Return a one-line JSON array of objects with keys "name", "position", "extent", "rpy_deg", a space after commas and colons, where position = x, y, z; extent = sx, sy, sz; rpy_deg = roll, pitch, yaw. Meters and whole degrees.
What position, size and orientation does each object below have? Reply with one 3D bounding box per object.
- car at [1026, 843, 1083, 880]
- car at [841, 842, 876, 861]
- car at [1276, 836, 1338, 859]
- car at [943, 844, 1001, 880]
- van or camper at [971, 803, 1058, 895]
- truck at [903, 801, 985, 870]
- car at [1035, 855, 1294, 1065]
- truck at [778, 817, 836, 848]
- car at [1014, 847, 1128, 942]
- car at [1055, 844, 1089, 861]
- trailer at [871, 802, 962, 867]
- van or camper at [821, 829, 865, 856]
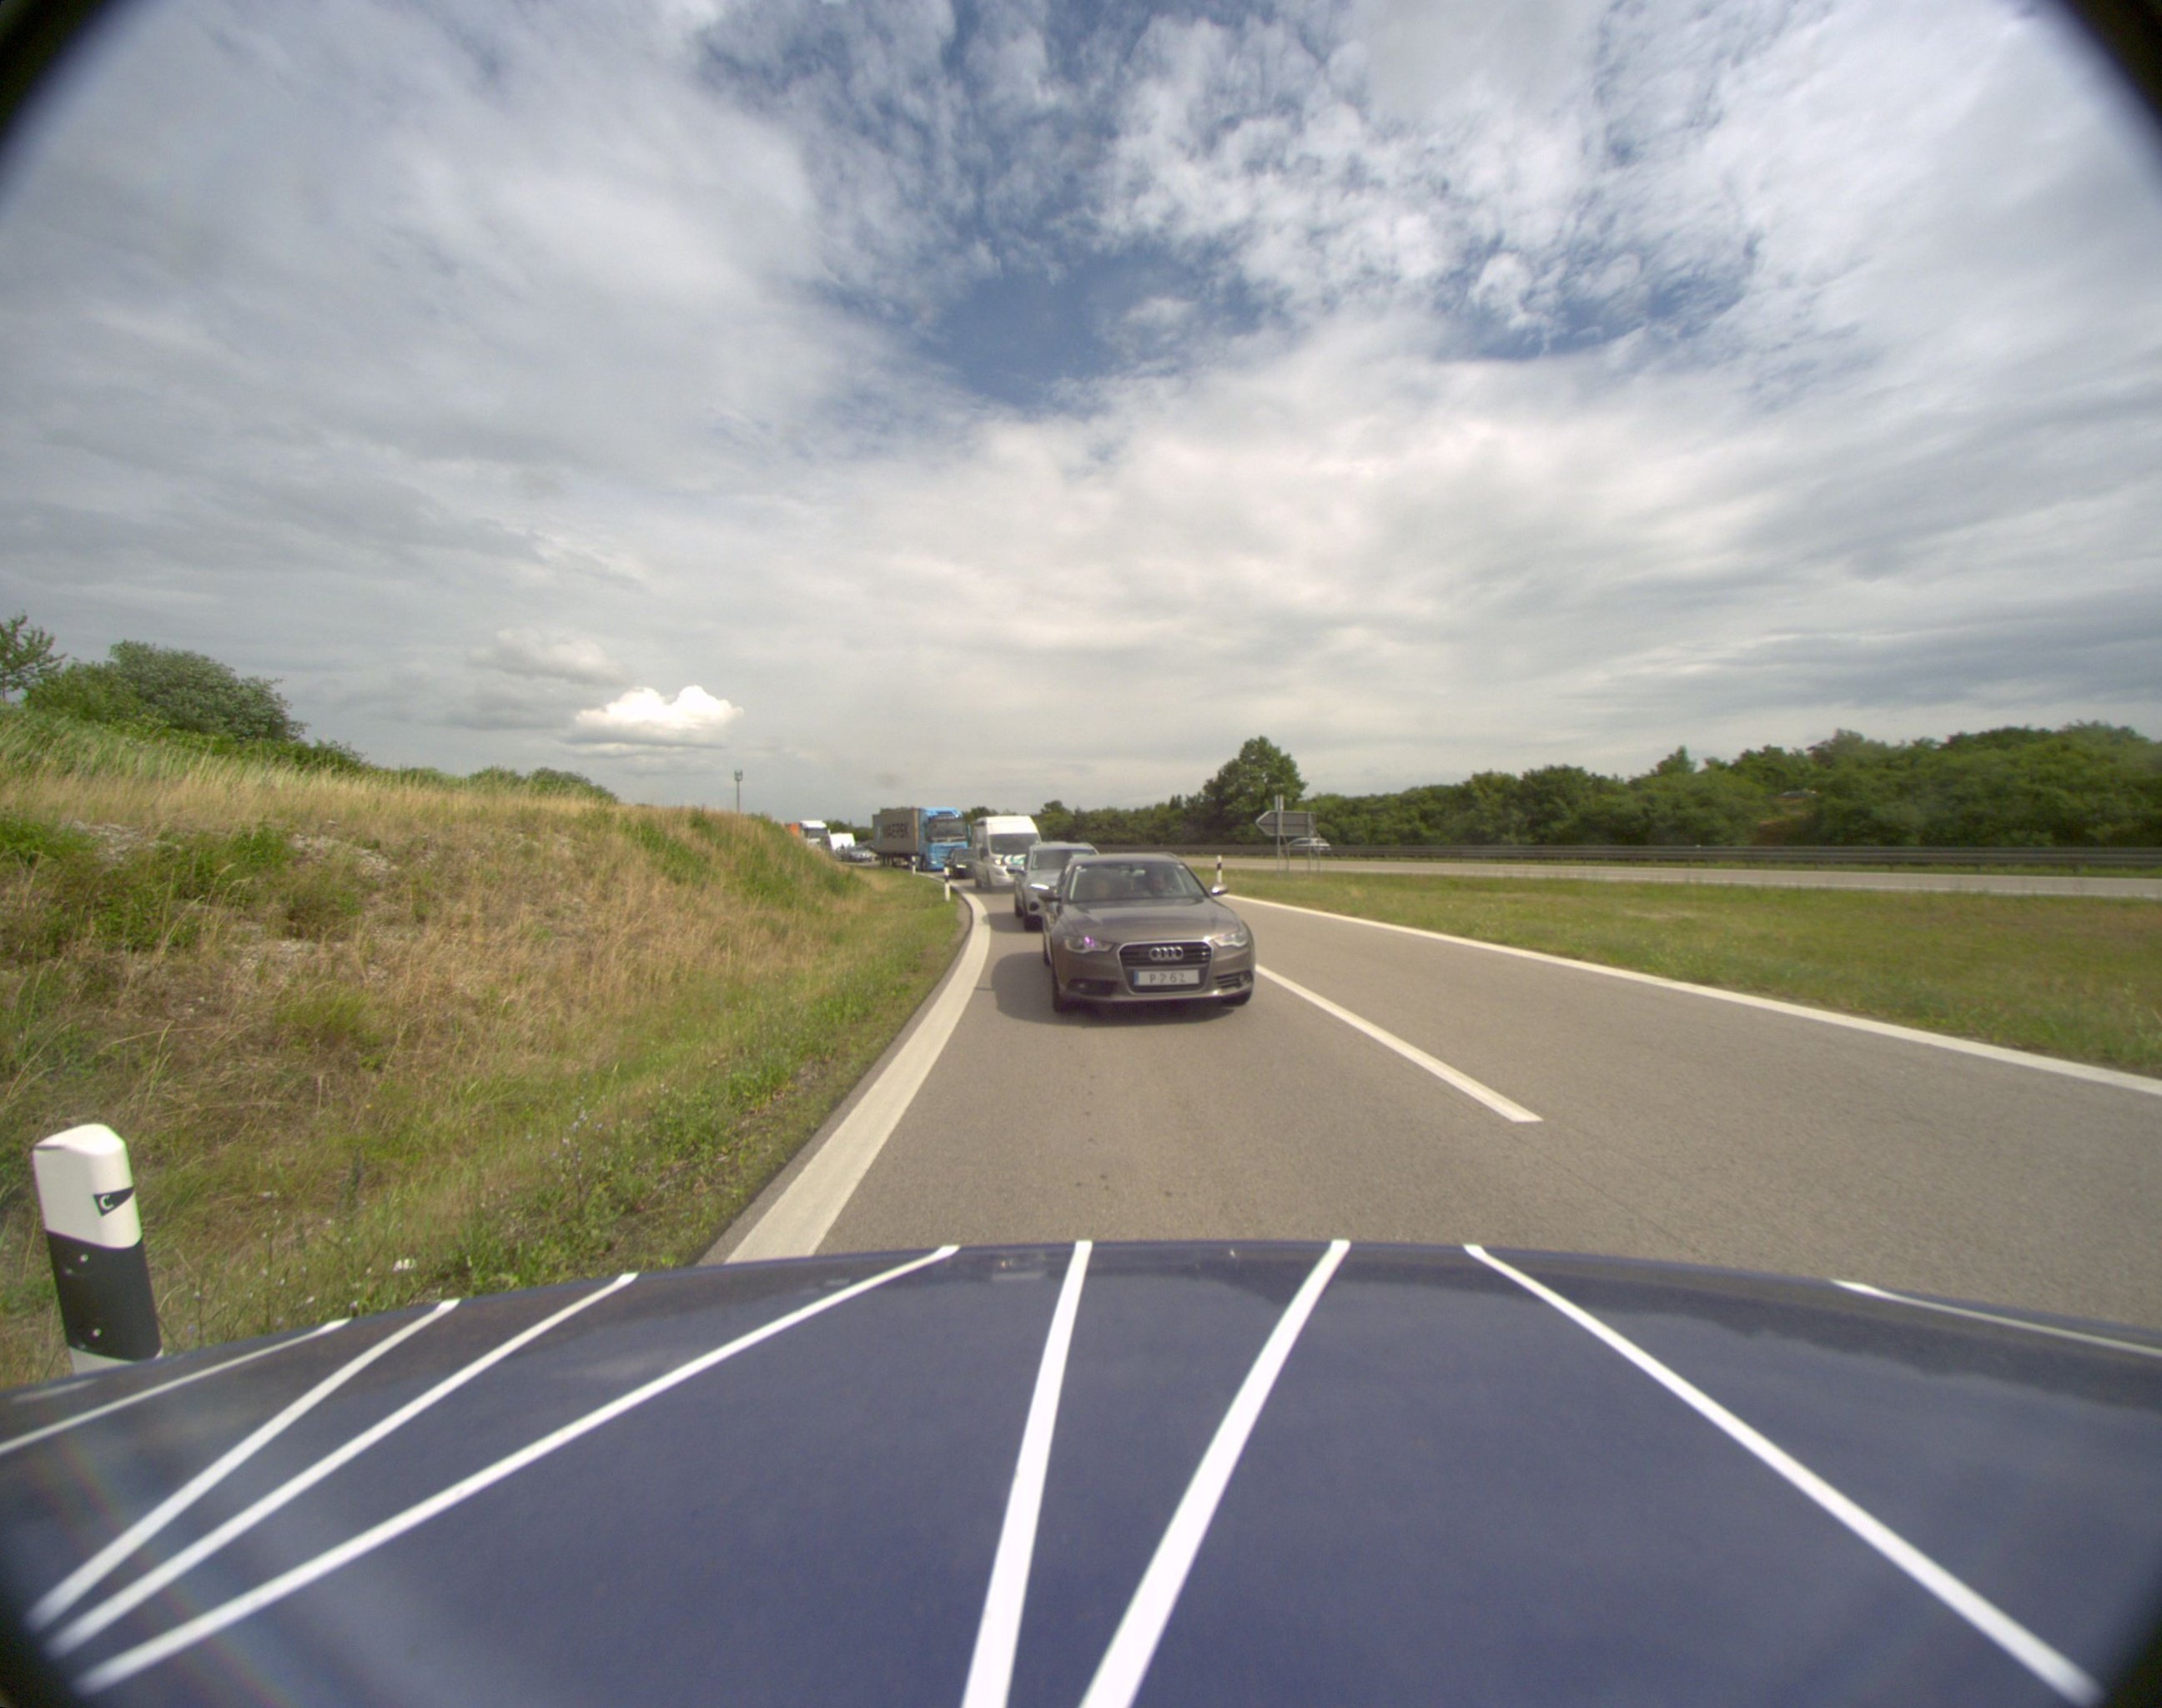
[{"name": "car", "position": [-1.340, 0.297, 36.088], "extent": [2.028, 1.568, 4.581], "rpy_deg": [-1, 1, -11]}, {"name": "car", "position": [-19.441, -0.273, 66.323], "extent": [2.003, 1.521, 3.989], "rpy_deg": [-2, 3, -30]}, {"name": "car", "position": [16.641, -0.508, 56.155], "extent": [2.004, 1.674, 3.988], "rpy_deg": [-1, 2, -37]}, {"name": "car", "position": [-5.431, 0.354, 37.503], "extent": [2.002, 1.609, 3.992], "rpy_deg": [-1, 2, -20]}, {"name": "van or camper", "position": [-2.555, -0.199, 27.535], "extent": [2.400, 2.892, 5.714], "rpy_deg": [-3, 1, -12]}, {"name": "truck", "position": [-8.796, -1.125, 48.149], "extent": [3.184, 4.050, 6.632], "rpy_deg": [-3, 1, -27]}, {"name": "car", "position": [0.532, 0.831, 8.234], "extent": [1.999, 1.506, 4.536], "rpy_deg": [-2, 1, -4]}, {"name": "truck", "position": [-30.738, -2.347, 84.771], "extent": [3.131, 3.221, 11.130], "rpy_deg": [-2, 2, -35]}, {"name": "car", "position": [-0.349, 0.684, 15.404], "extent": [1.843, 1.587, 4.170], "rpy_deg": [-1, 1, -7]}, {"name": "car", "position": [-1.049, -0.141, 86.579], "extent": [1.847, 1.862, 4.196], "rpy_deg": [-3, 1, -35]}, {"name": "trailer", "position": [-12.110, -1.300, 54.682], "extent": [3.280, 4.138, 11.990], "rpy_deg": [-3, 1, -27]}, {"name": "van or camper", "position": [-22.460, -1.134, 71.536], "extent": [2.557, 2.200, 5.693], "rpy_deg": [-3, 5, -32]}]
